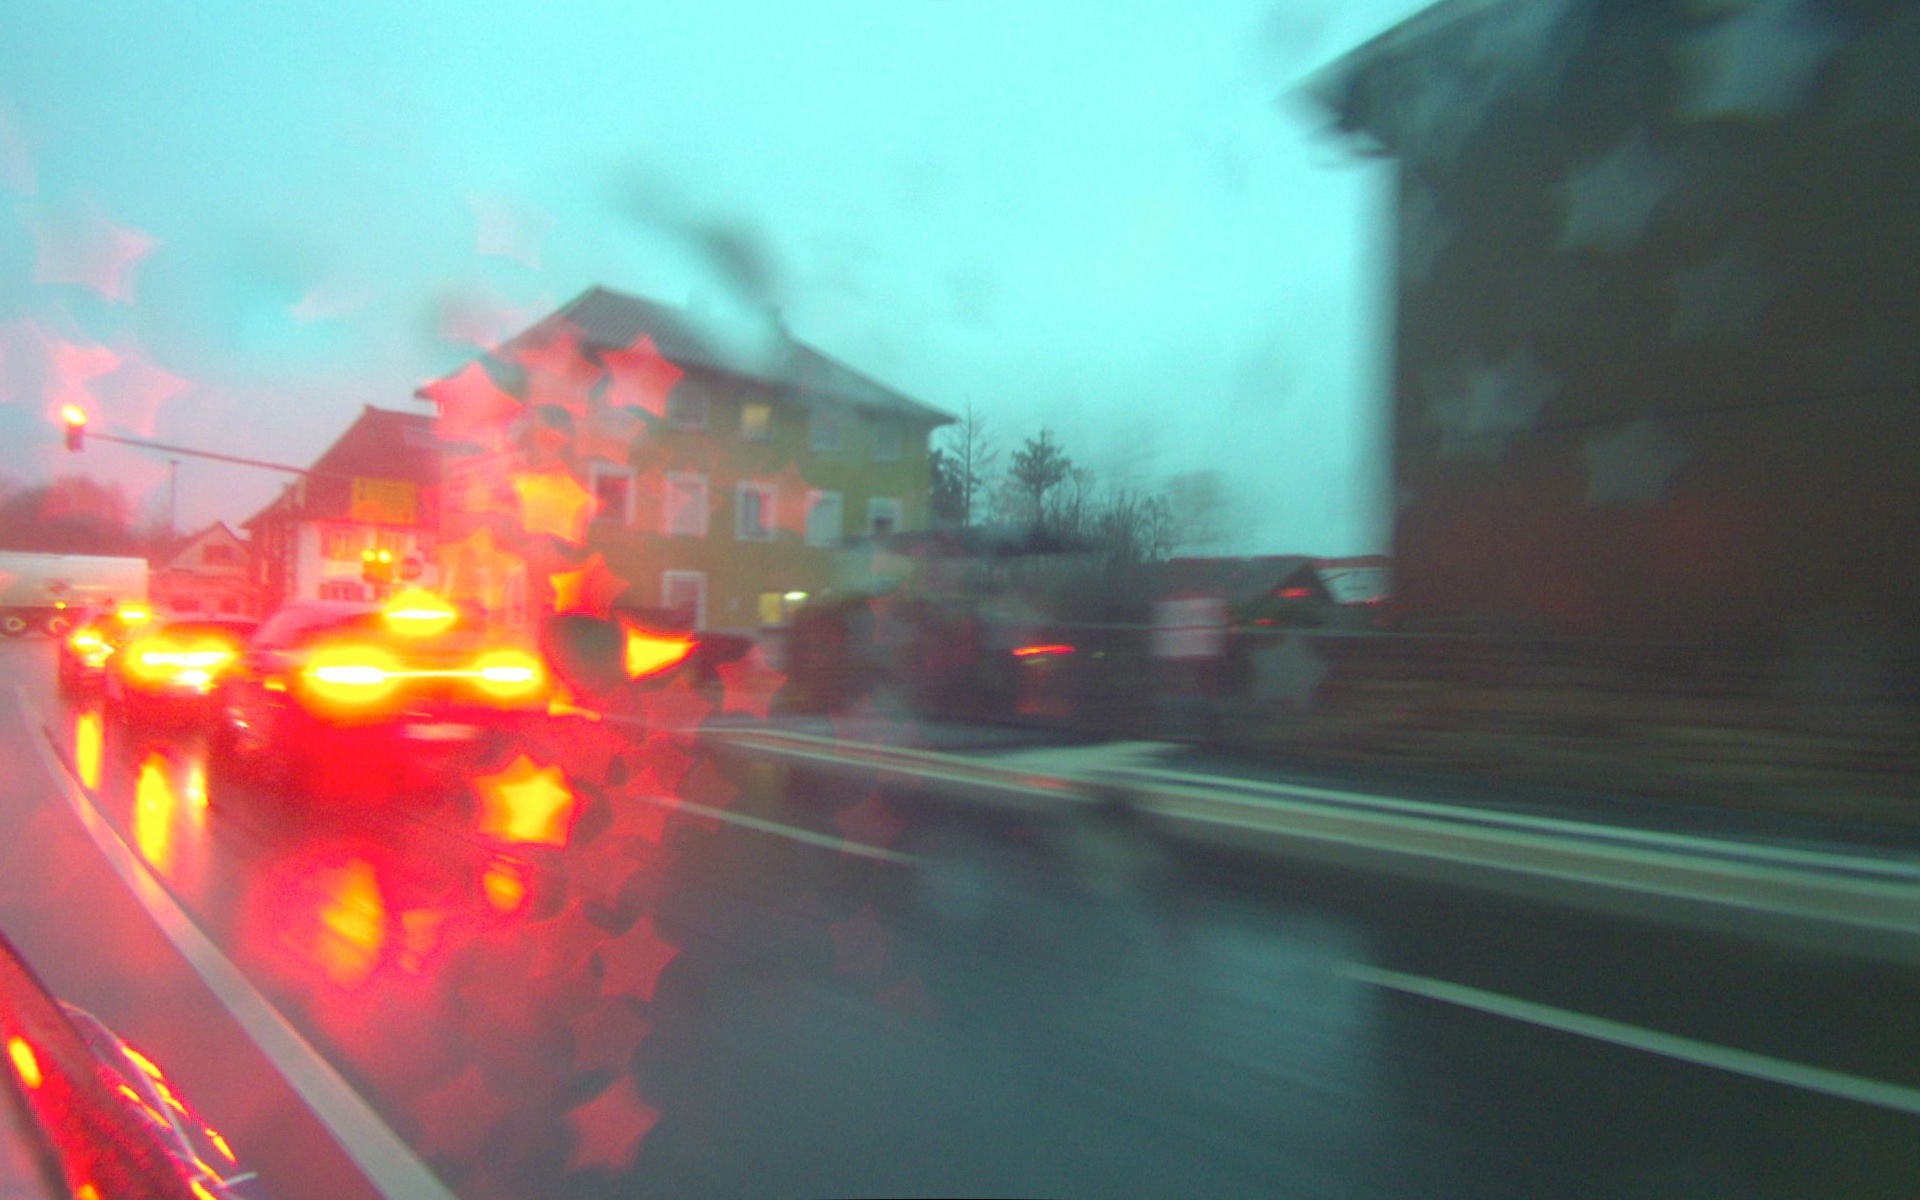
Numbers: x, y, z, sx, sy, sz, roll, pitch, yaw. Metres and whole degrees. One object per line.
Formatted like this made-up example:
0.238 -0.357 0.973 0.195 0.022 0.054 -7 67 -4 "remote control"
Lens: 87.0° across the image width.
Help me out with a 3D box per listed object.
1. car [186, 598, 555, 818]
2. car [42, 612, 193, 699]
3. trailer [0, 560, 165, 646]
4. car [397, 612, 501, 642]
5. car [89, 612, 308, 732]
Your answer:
-5.697 0.842 9.535 4.291 1.597 1.854 -1 -3 44 "car"
-15.581 0.941 18.632 1.857 1.404 4.528 3 -2 -43 "car"
-37.816 0.125 39.287 10.706 3.265 2.498 2 -3 -44 "trailer"
-25.375 1.353 50.320 4.315 1.450 1.669 2 -3 -44 "car"
-10.582 0.887 13.942 1.804 1.383 4.288 3 -2 -45 "car"
